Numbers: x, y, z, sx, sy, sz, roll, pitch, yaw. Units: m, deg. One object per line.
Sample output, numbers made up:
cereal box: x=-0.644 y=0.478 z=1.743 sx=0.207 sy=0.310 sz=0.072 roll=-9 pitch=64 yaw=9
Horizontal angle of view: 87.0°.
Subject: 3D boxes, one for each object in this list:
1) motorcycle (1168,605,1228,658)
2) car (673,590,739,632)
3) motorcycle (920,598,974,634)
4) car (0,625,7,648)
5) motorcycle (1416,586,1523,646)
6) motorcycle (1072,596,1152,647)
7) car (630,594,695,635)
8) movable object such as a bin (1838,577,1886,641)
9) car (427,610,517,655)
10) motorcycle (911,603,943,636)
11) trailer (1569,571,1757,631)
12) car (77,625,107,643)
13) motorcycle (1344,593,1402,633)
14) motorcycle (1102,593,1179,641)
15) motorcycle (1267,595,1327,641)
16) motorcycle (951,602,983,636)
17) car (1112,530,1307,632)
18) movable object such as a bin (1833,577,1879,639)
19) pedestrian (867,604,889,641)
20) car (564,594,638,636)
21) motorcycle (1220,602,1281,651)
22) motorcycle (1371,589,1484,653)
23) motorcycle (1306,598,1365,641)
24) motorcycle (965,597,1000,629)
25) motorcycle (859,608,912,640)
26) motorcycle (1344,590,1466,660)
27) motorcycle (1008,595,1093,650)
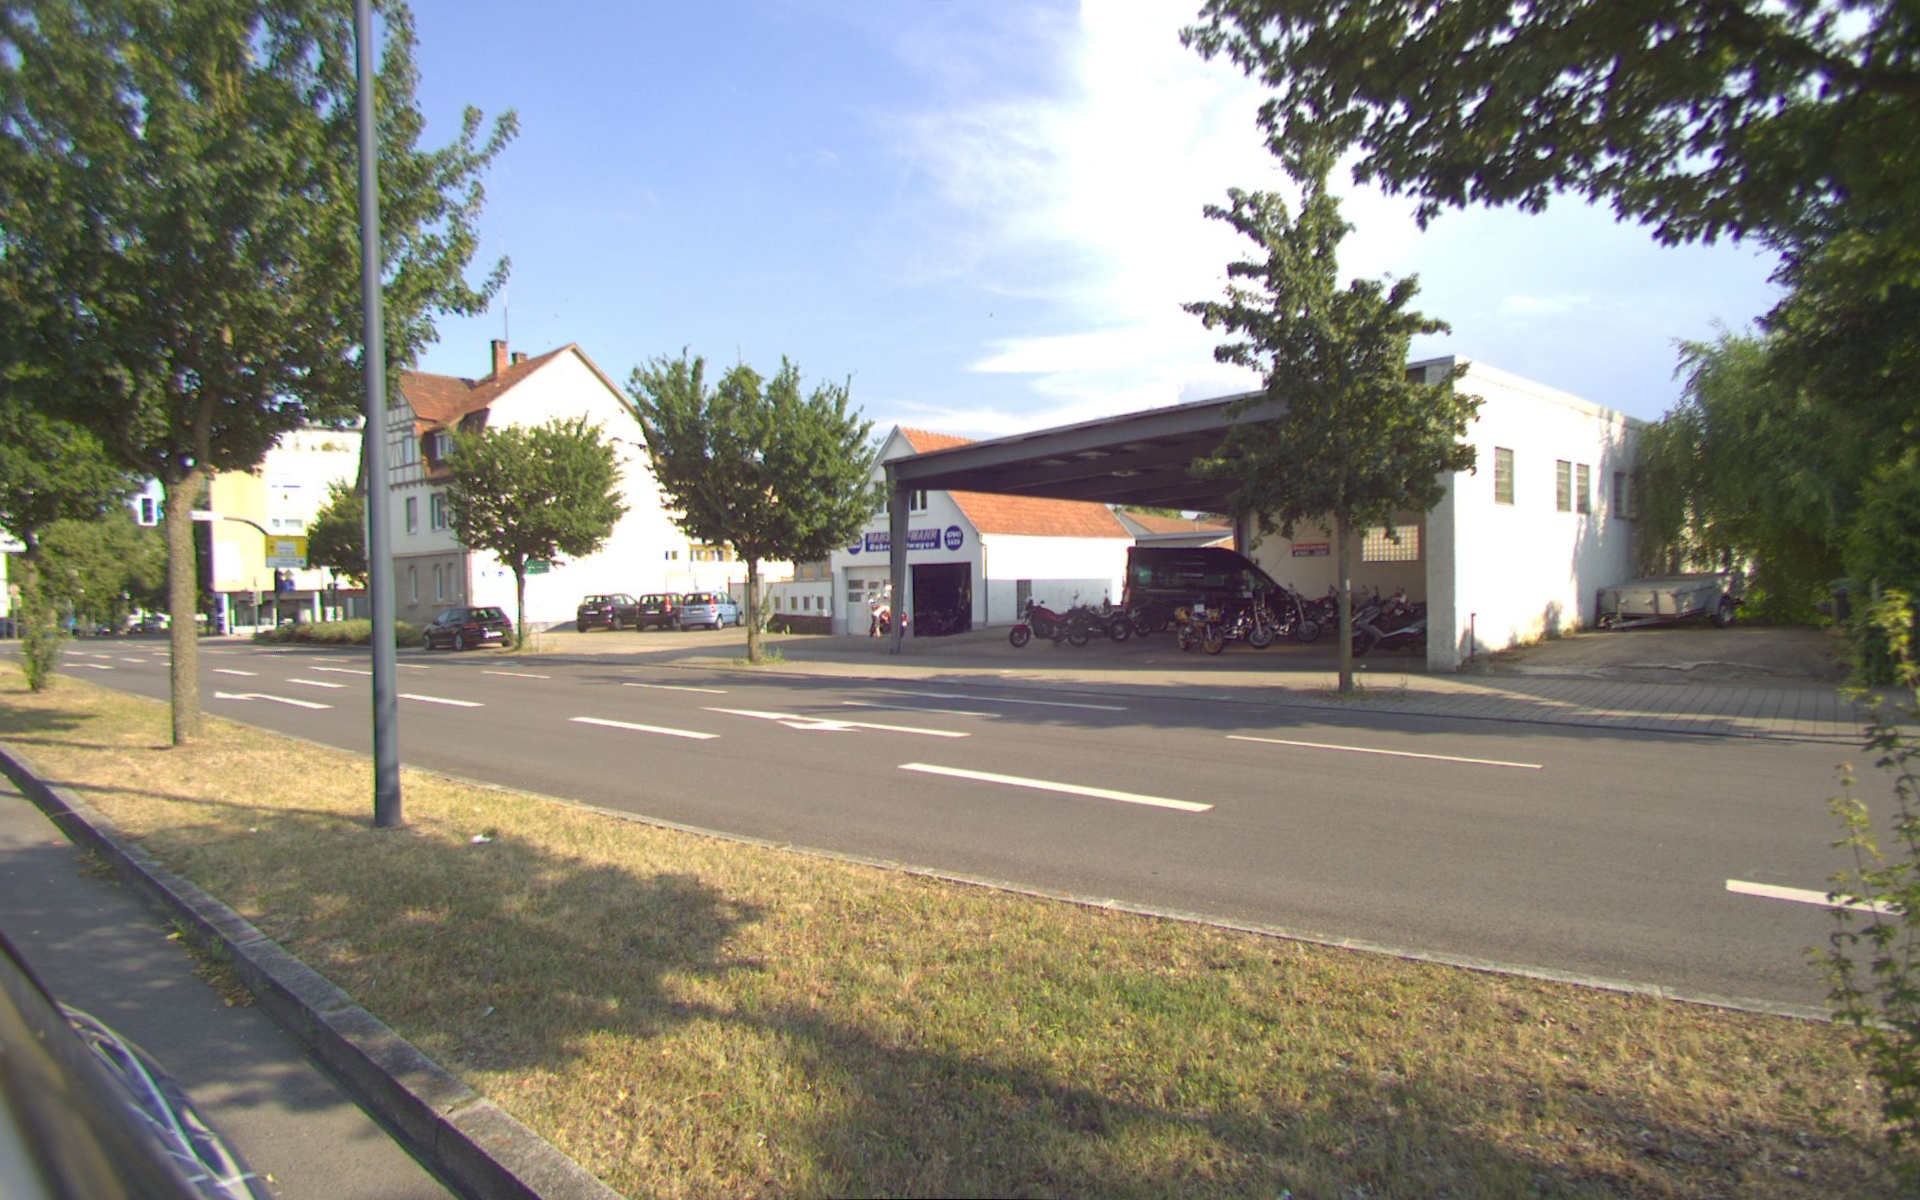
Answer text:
motorcycle: x=5.311 y=0.678 z=22.711 sx=0.542 sy=1.107 sz=2.052 roll=-1 pitch=0 yaw=-9
car: x=-9.972 y=0.432 z=39.945 sx=1.599 sy=1.555 sz=3.429 roll=-1 pitch=-1 yaw=2
motorcycle: x=-0.486 y=0.604 z=39.410 sx=2.082 sy=1.332 sz=0.490 roll=-1 pitch=0 yaw=-27
car: x=-80.849 y=3.043 z=83.987 sx=1.787 sy=1.886 sz=4.011 roll=-1 pitch=0 yaw=-32
motorcycle: x=11.539 y=0.364 z=22.984 sx=2.074 sy=1.310 sz=0.523 roll=-2 pitch=0 yaw=15
motorcycle: x=4.111 y=0.587 z=27.440 sx=2.095 sy=1.332 sz=0.487 roll=-2 pitch=0 yaw=9
car: x=-12.200 y=0.572 z=41.729 sx=1.566 sy=1.576 sz=3.429 roll=-1 pitch=0 yaw=2
movable object such as a bin: x=15.494 y=0.150 z=17.390 sx=0.589 sy=1.077 sz=0.534 roll=-1 pitch=0 yaw=44
car: x=-16.694 y=1.072 z=34.576 sx=3.433 sy=1.327 sz=1.650 roll=-1 pitch=3 yaw=44
motorcycle: x=-1.343 y=0.793 z=41.810 sx=0.485 sy=1.332 sz=2.104 roll=-2 pitch=0 yaw=21
trailer: x=14.905 y=-0.004 z=21.451 sx=3.312 sy=1.121 sz=2.174 roll=-2 pitch=1 yaw=-33
car: x=-103.702 y=4.058 z=120.901 sx=1.966 sy=2.029 sz=4.012 roll=-1 pitch=0 yaw=-30
motorcycle: x=12.005 y=0.372 z=29.472 sx=0.542 sy=1.107 sz=2.052 roll=-1 pitch=0 yaw=-9
motorcycle: x=5.206 y=0.491 z=29.242 sx=2.090 sy=1.332 sz=0.488 roll=-2 pitch=0 yaw=1
motorcycle: x=8.632 y=0.454 z=26.041 sx=0.542 sy=1.107 sz=2.052 roll=-1 pitch=0 yaw=-9
motorcycle: x=0.297 y=0.775 z=41.634 sx=0.485 sy=1.332 sz=2.102 roll=-2 pitch=0 yaw=24
car: x=7.830 y=-0.562 z=32.446 sx=5.734 sy=2.982 sz=2.670 roll=-2 pitch=0 yaw=9
movable object such as a bin: x=16.084 y=0.143 z=18.158 sx=0.589 sy=1.077 sz=0.534 roll=-1 pitch=0 yaw=44
pedestrian: x=-3.035 y=0.821 z=37.423 sx=0.583 sy=1.350 sz=0.589 roll=-1 pitch=0 yaw=34
car: x=-14.818 y=0.605 z=41.949 sx=1.836 sy=1.638 sz=3.410 roll=-1 pitch=0 yaw=0
motorcycle: x=6.942 y=0.619 z=24.308 sx=0.542 sy=1.107 sz=2.052 roll=-1 pitch=0 yaw=-9
motorcycle: x=9.871 y=0.446 z=21.417 sx=2.074 sy=1.310 sz=0.523 roll=-2 pitch=0 yaw=15
motorcycle: x=10.268 y=0.524 z=27.744 sx=0.542 sy=1.107 sz=2.052 roll=-1 pitch=0 yaw=-9
motorcycle: x=0.981 y=0.566 z=44.175 sx=0.487 sy=1.332 sz=2.096 roll=-2 pitch=0 yaw=32
motorcycle: x=-2.790 y=0.905 z=37.810 sx=2.114 sy=1.155 sz=0.483 roll=-2 pitch=0 yaw=35
motorcycle: x=8.643 y=0.493 z=19.714 sx=2.074 sy=1.310 sz=0.523 roll=-2 pitch=0 yaw=15
motorcycle: x=2.302 y=0.568 z=25.799 sx=2.096 sy=1.332 sz=0.487 roll=-2 pitch=0 yaw=11
